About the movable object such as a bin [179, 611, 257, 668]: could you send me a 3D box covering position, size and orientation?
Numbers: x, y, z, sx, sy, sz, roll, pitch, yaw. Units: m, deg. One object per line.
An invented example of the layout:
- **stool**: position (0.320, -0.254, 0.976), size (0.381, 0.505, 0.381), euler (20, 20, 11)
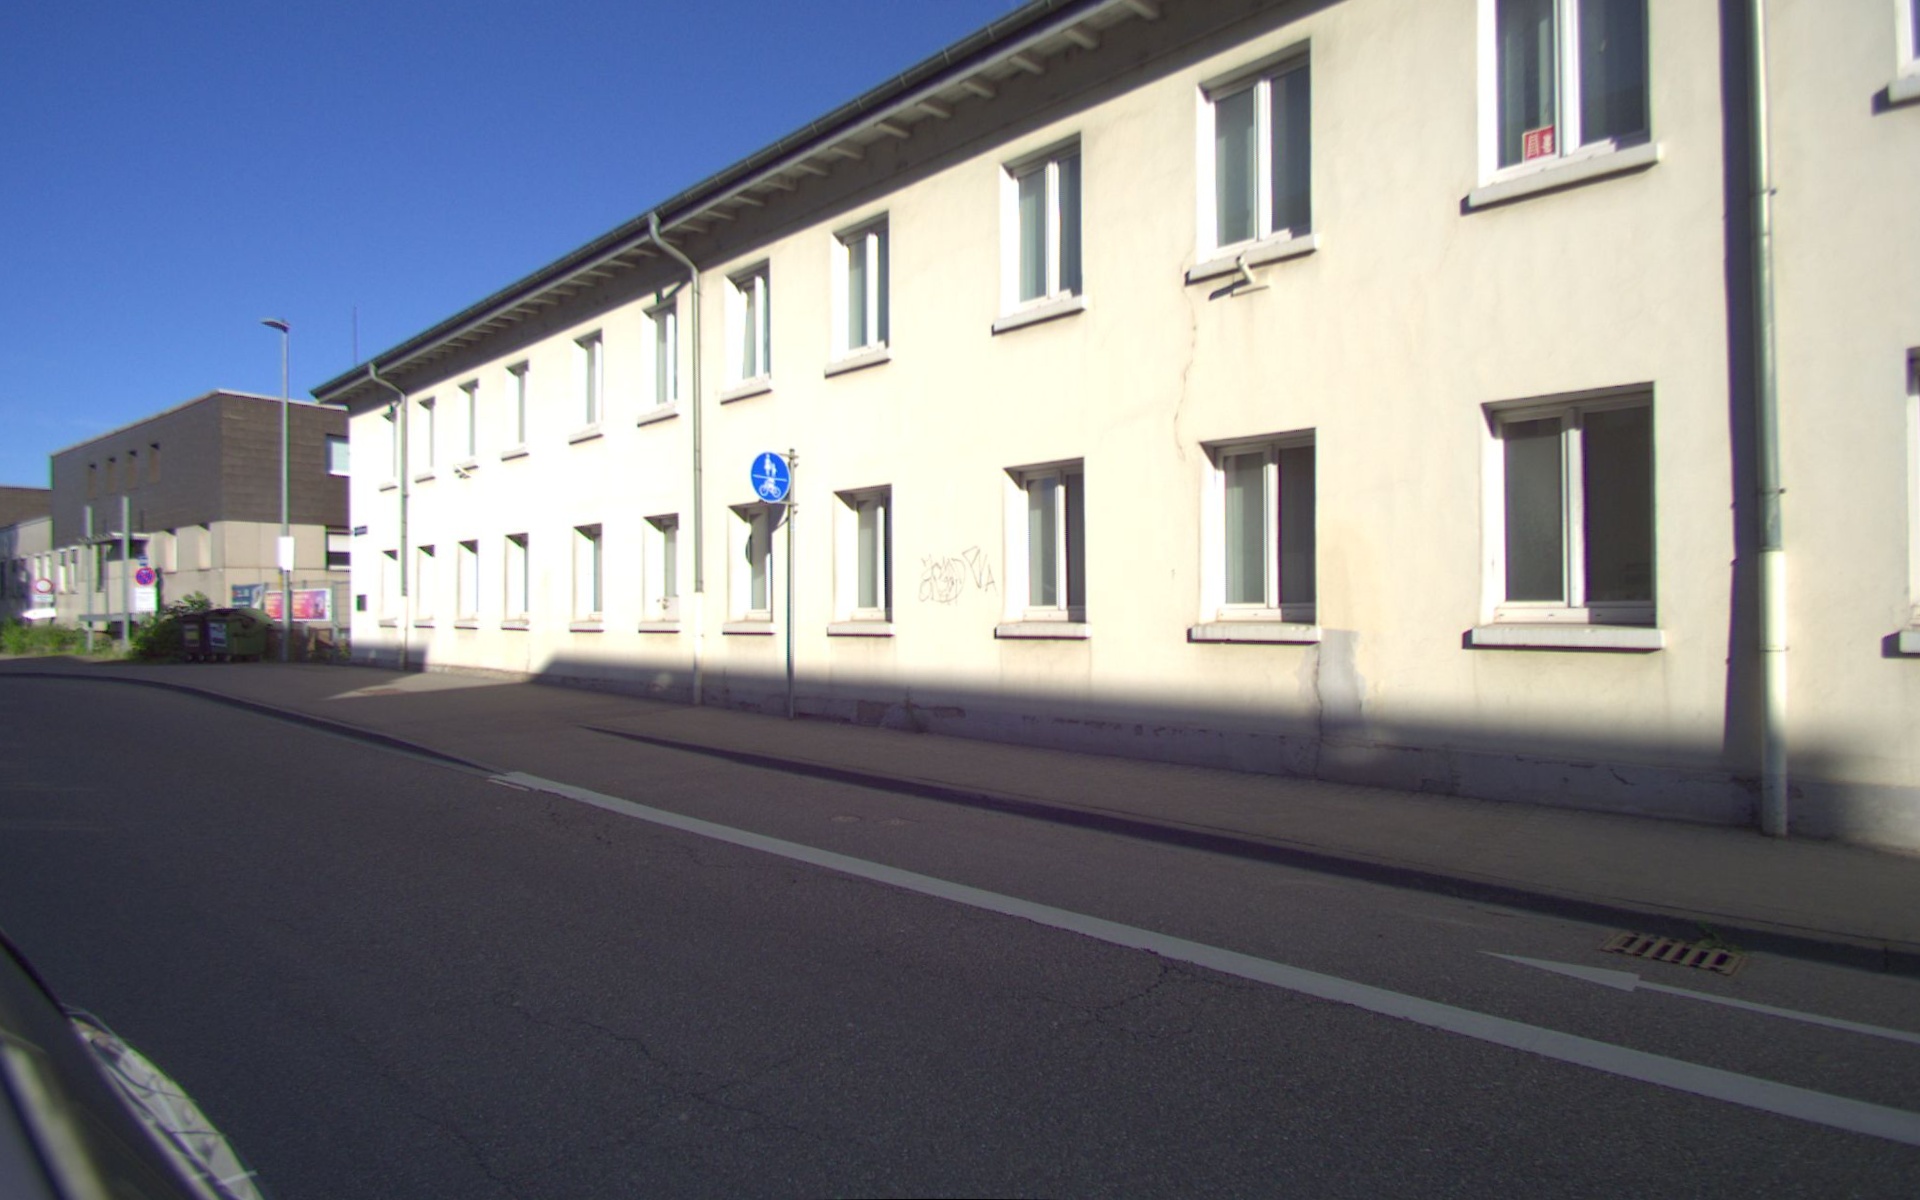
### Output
- **movable object such as a bin**: position (-20.243, 1.062, 27.619), size (1.285, 1.482, 1.350), euler (-1, -1, 32)

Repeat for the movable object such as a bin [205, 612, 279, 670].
- **movable object such as a bin**: position (-19.071, 1.074, 26.888), size (1.368, 1.482, 1.190), euler (-1, -1, 32)
